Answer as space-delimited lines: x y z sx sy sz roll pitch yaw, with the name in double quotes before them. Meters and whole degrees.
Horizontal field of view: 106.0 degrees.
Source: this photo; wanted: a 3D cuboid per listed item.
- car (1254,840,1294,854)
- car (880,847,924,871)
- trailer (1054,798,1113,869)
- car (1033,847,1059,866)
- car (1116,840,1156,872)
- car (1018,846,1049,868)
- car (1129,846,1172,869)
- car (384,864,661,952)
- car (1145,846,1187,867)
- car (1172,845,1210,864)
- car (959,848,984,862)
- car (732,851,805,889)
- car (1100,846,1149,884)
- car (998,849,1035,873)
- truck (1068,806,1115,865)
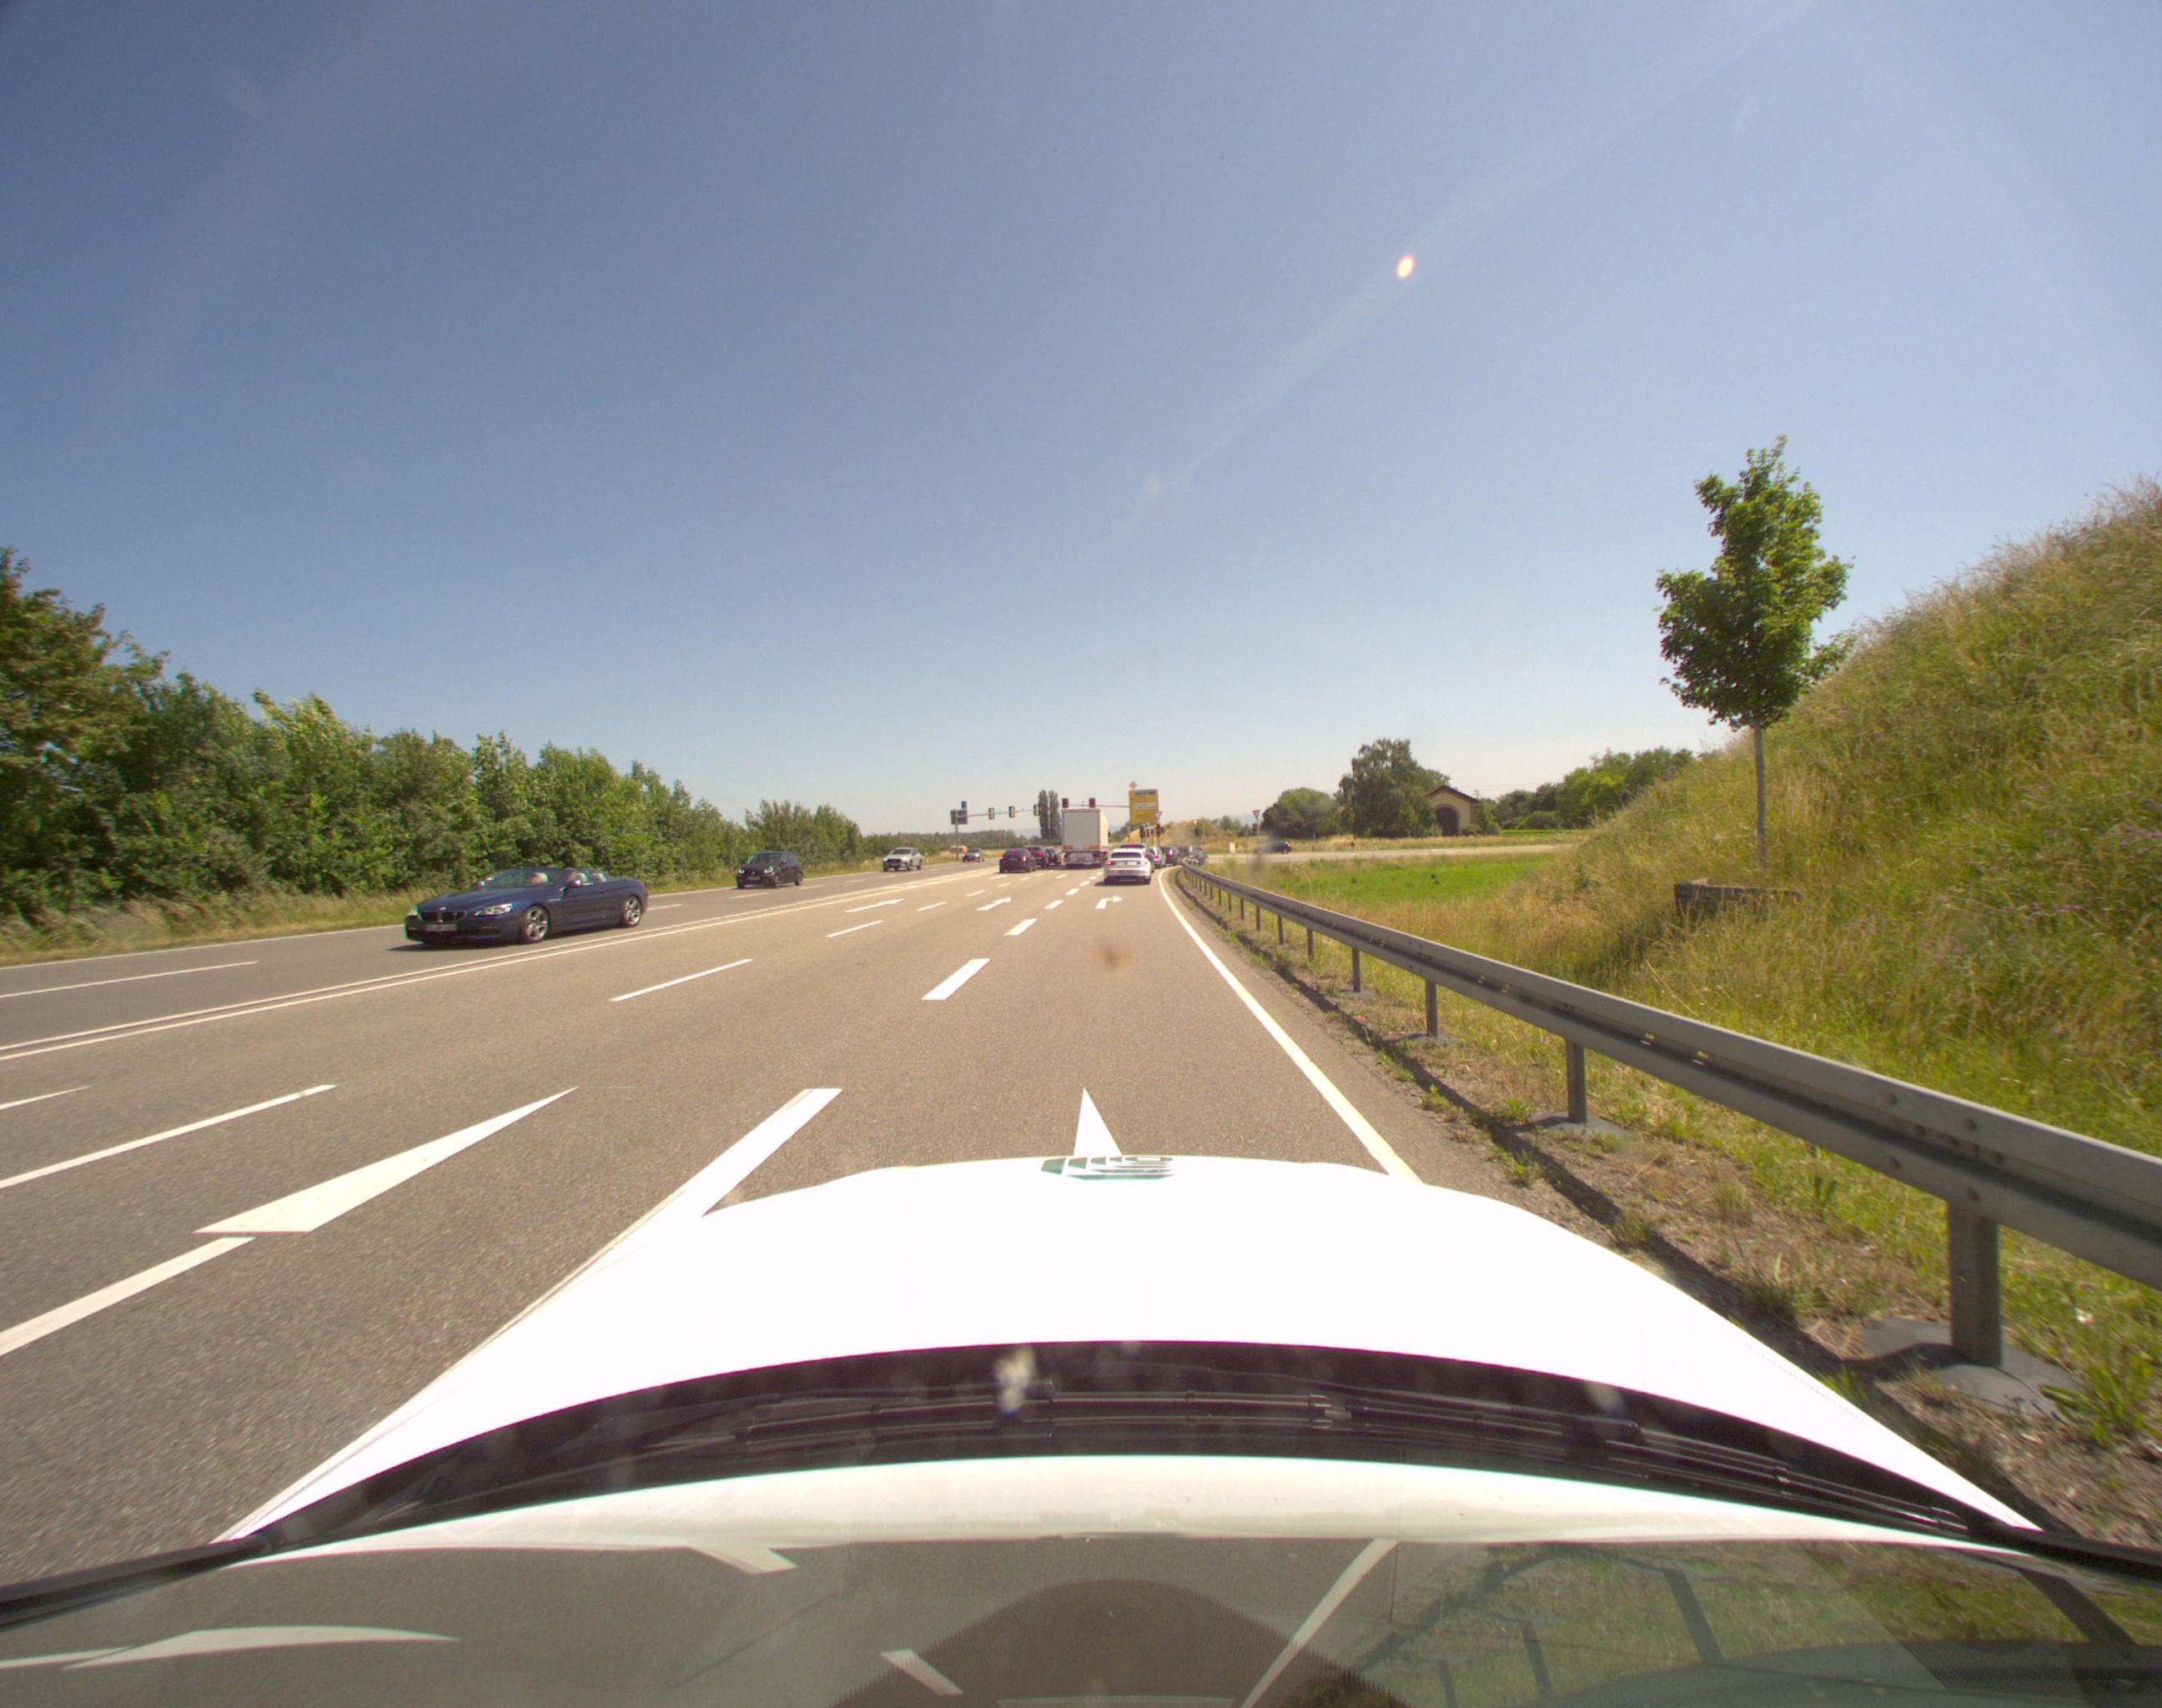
"car" 21.971 -0.846 92.740 4.237 1.368 1.780 -3 2 6
"car" -12.606 0.325 57.688 2.020 1.639 4.570 -1 0 1
"trailer" 0.421 -1.374 59.014 3.366 4.542 12.887 -1 0 4
"car" -2.852 0.168 66.682 1.802 1.493 4.023 -1 0 2
"car" 2.991 0.086 43.811 1.925 1.616 4.386 -1 0 6
"car" -3.380 0.200 58.843 1.802 1.493 4.023 -1 0 2
"car" 4.564 0.198 53.091 1.785 1.429 4.113 -1 0 19
"car" -10.179 0.904 15.421 1.798 1.280 4.768 -1 0 2
"car" 6.145 0.161 58.483 1.784 1.476 4.438 -1 0 22
"car" 8.833 0.025 65.313 1.783 1.522 3.906 -1 0 27
"car" -11.561 0.106 86.253 1.871 1.398 4.533 -1 0 2
"car" -13.243 0.638 34.730 1.639 1.487 3.560 -1 0 1
"car" 1.826 0.414 33.409 1.839 1.433 4.613 -1 0 4
"car" -3.944 0.422 50.100 1.802 1.398 4.023 -1 0 2
"truck" 0.971 -1.458 66.253 3.366 4.542 6.380 -1 0 4
